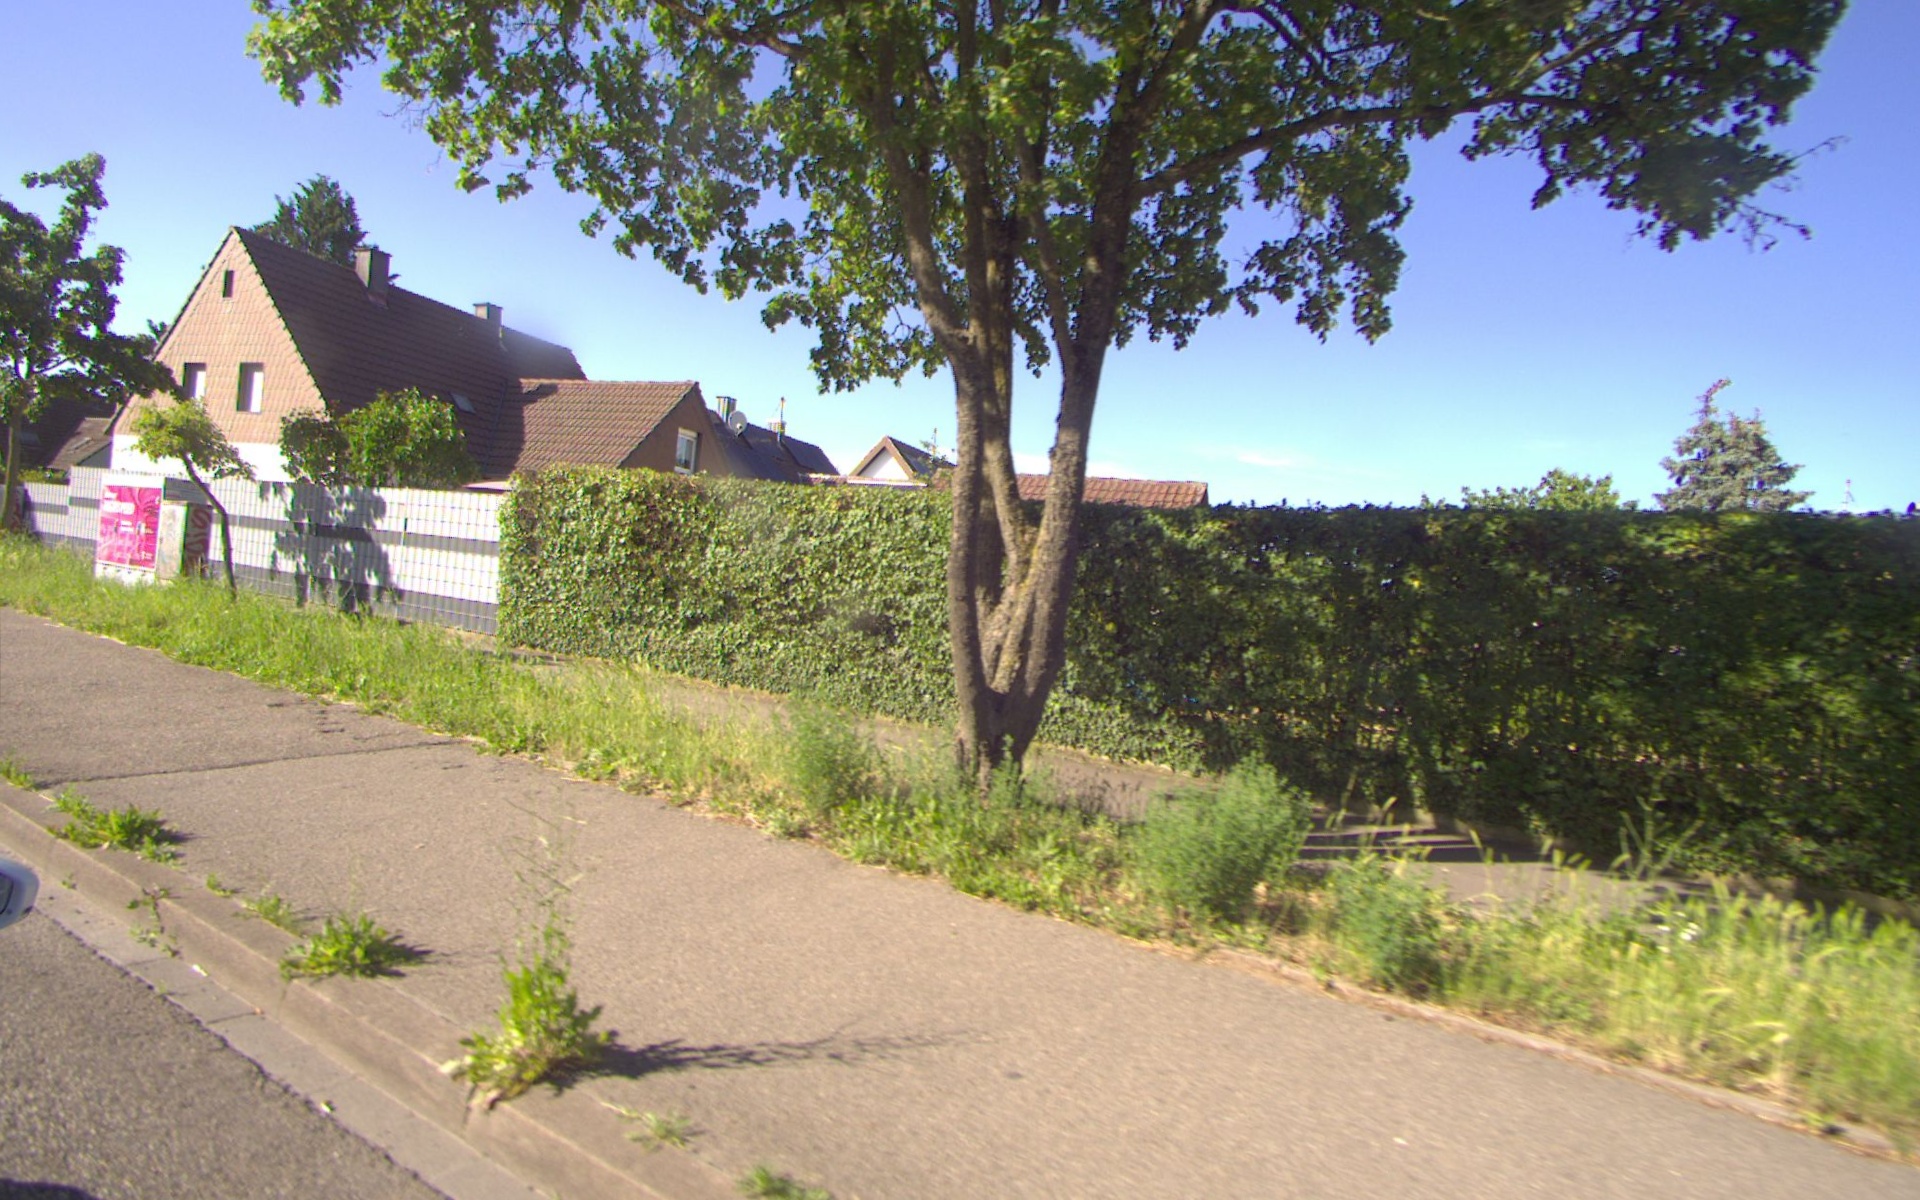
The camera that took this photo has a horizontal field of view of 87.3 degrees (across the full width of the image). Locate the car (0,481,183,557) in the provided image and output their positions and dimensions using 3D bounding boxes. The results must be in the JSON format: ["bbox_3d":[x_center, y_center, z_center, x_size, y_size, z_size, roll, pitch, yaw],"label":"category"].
[{"bbox_3d":[-26.474,-2.432,29.992,2.034,1.677,4.753,7,0,25],"label":"car"}]
